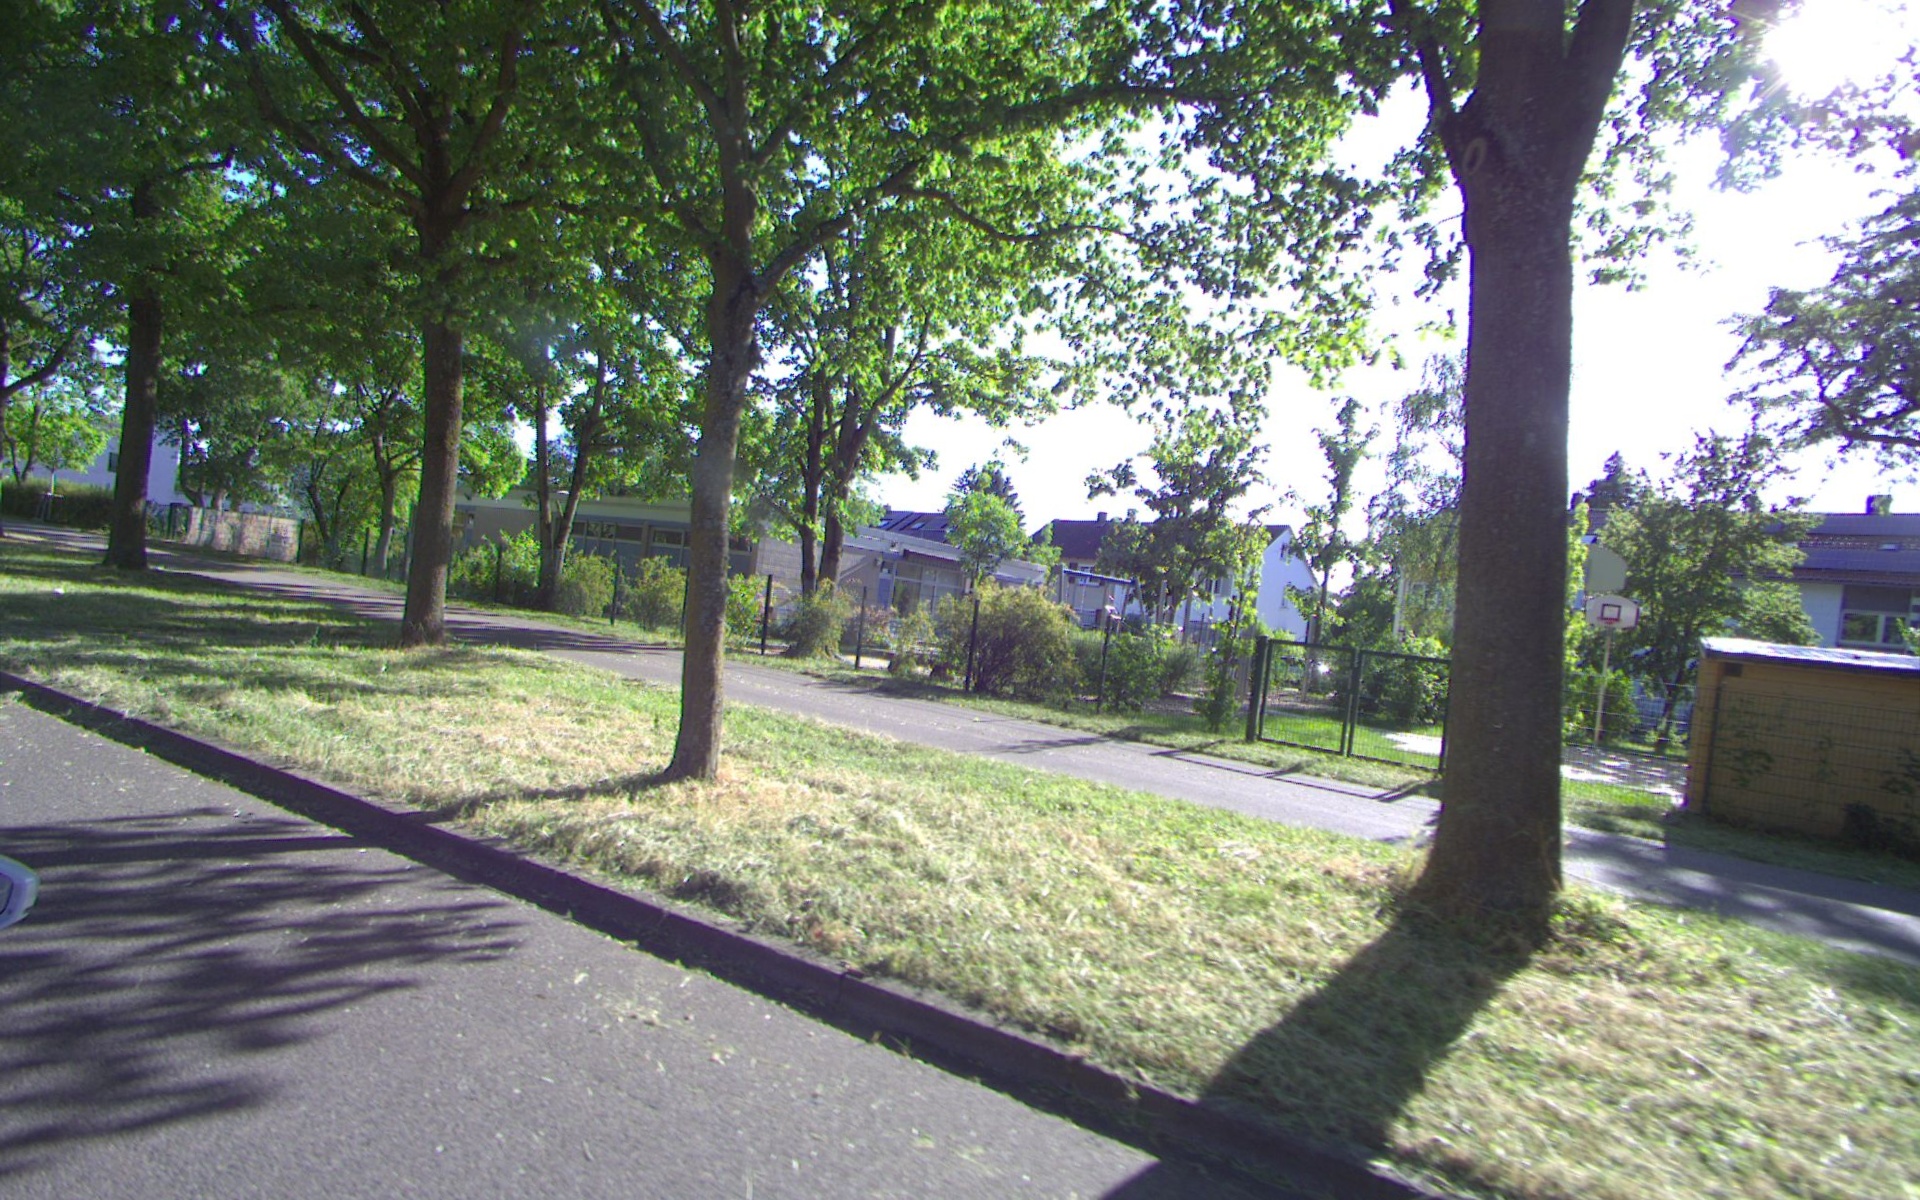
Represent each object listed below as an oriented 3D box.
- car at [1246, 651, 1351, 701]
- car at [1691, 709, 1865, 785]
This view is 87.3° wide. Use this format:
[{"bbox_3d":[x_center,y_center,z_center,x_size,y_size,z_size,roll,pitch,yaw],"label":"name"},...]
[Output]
[{"bbox_3d":[15.109,3.376,45.011,1.889,1.771,3.958,6,-1,-39],"label":"car"},{"bbox_3d":[26.426,4.708,32.600,1.889,1.771,3.958,6,-1,-39],"label":"car"}]
